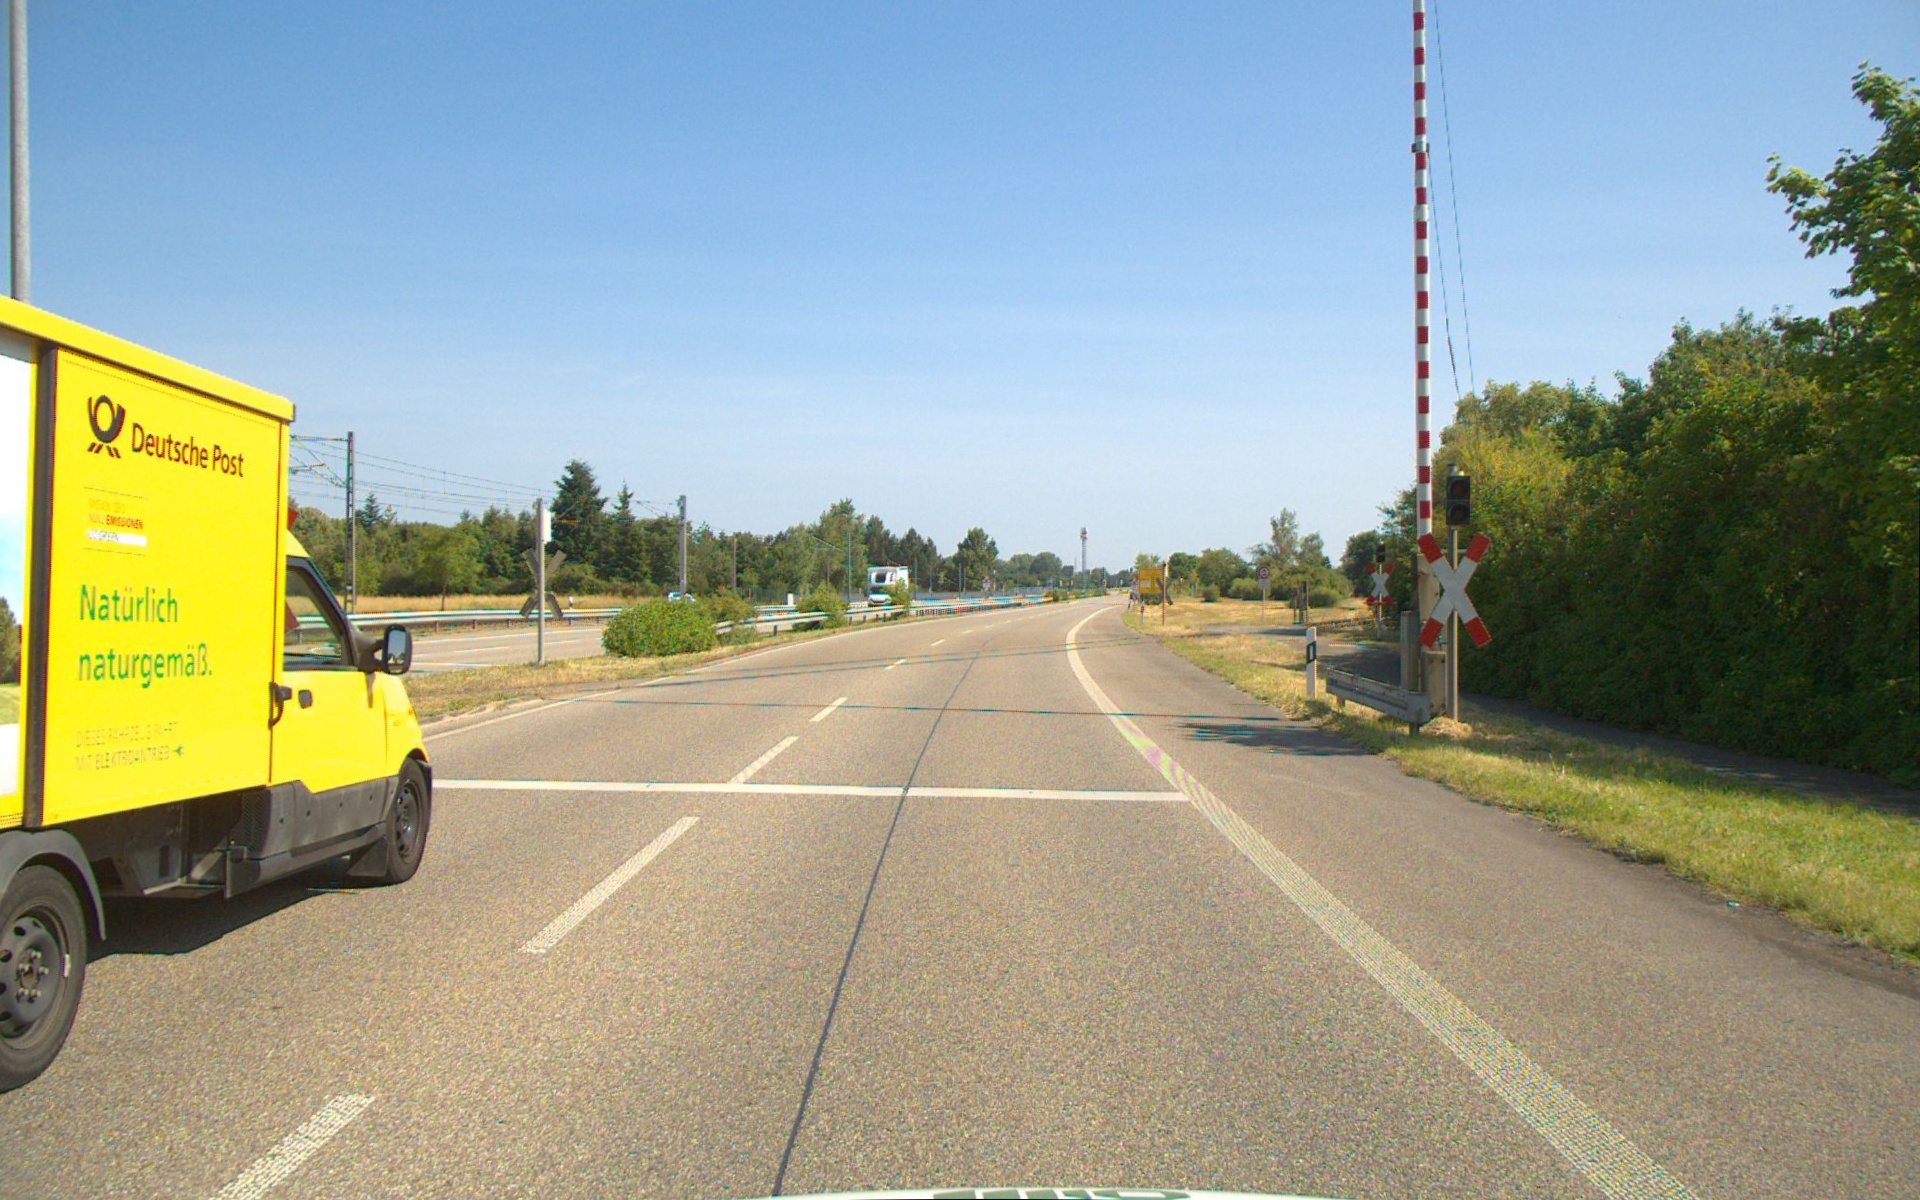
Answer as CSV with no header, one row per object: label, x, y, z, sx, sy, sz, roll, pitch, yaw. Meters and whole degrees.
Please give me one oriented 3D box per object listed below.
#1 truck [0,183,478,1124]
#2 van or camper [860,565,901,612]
truck,-3.620,0.124,6.042,2.069,2.500,5.915,1,0,-1
van or camper,-6.541,-0.942,137.054,2.817,3.745,8.645,0,0,1
